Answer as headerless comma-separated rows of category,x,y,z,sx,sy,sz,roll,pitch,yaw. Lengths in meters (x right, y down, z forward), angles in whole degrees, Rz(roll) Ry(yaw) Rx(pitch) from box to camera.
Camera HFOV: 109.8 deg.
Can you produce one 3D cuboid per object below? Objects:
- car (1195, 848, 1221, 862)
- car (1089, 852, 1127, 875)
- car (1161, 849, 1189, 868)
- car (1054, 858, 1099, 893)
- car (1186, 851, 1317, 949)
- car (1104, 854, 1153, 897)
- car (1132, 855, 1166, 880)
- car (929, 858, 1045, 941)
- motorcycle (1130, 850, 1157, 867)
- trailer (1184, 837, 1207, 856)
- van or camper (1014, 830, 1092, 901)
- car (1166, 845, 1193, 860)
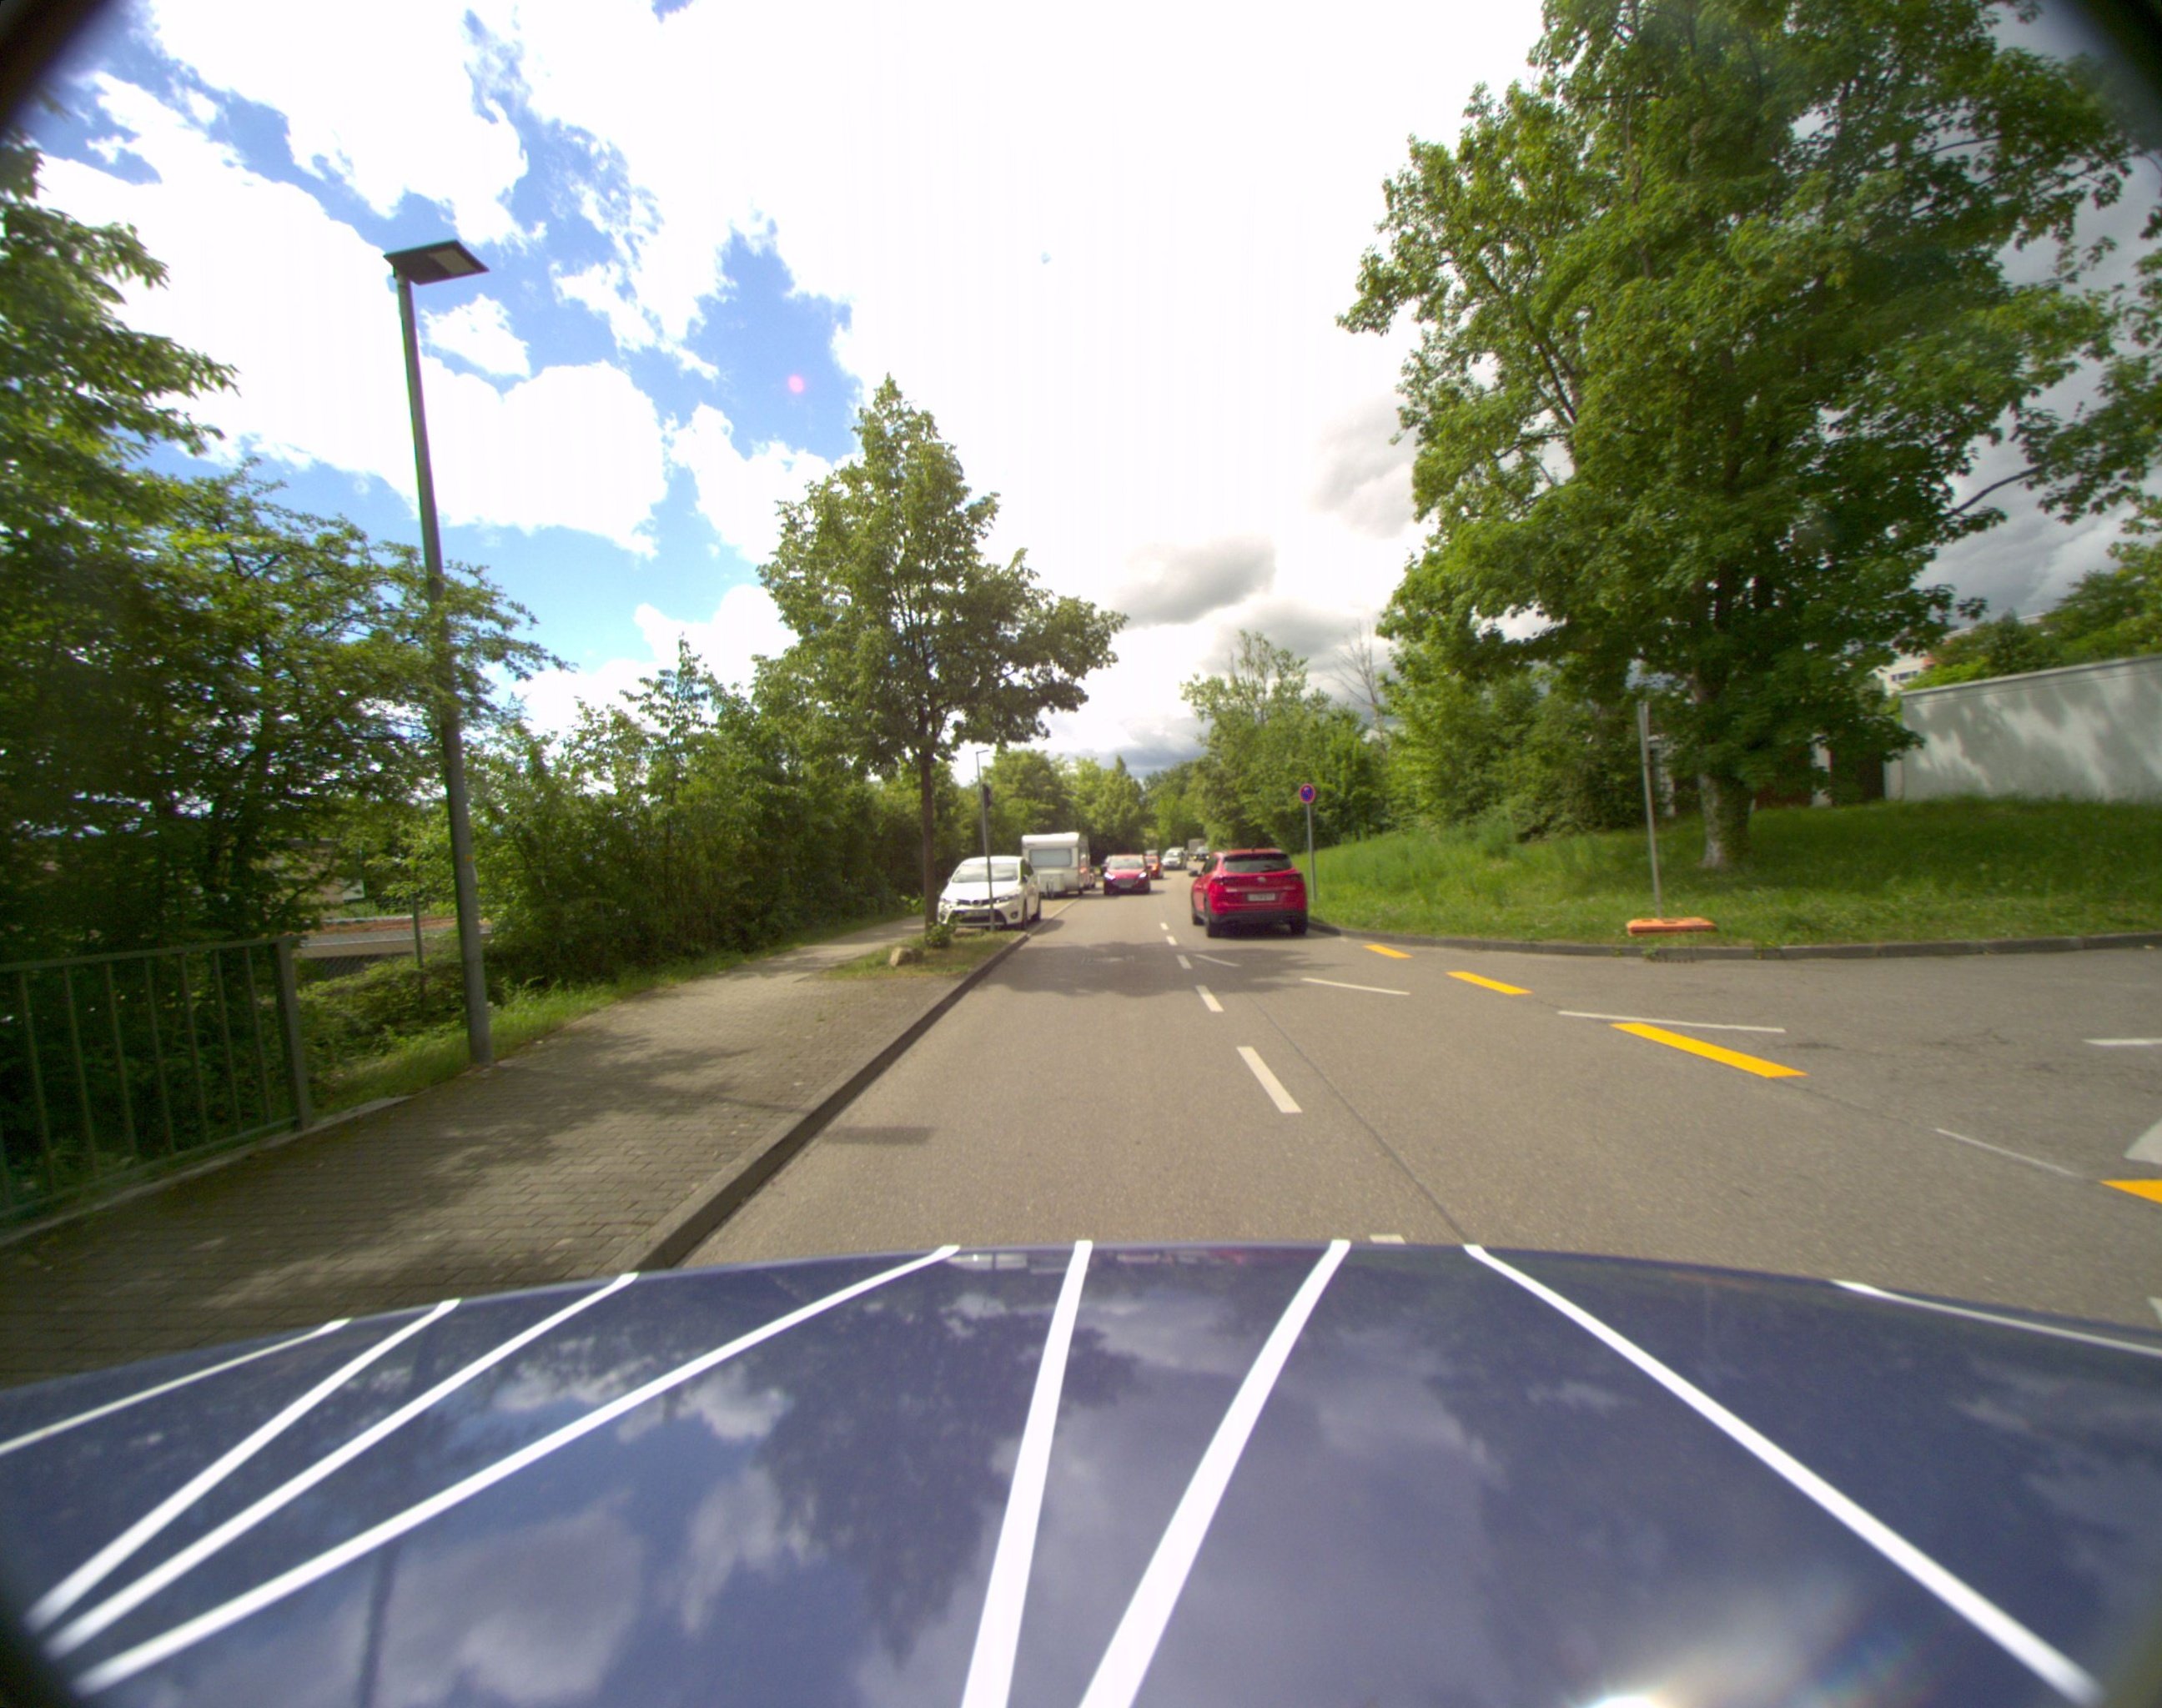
car,13.529,0.086,80.905,1.793,1.500,4.119,1,1,23
car,2.038,0.655,55.305,1.896,1.521,4.550,-3,0,13
car,8.023,0.390,64.402,1.793,1.500,4.117,1,1,15
car,-0.151,0.981,36.338,1.685,1.442,4.481,-3,0,5
car,3.300,0.822,15.532,1.847,1.649,4.222,-3,0,3
car,2.090,0.864,32.614,1.911,1.688,4.388,-1,0,5
car,4.354,0.834,48.164,1.794,1.404,4.116,-2,-1,10
car,-1.996,0.923,17.450,1.809,1.590,4.373,-2,0,3
motorcycle,5.563,0.354,67.599,2.306,1.467,0.977,1,3,42
trailer,13.611,-0.872,90.387,1.731,2.067,3.787,0,3,23
van or camper,-0.982,0.392,30.090,2.359,2.539,5.076,-2,1,5
car,10.683,-0.178,82.241,1.864,1.469,4.907,-1,2,20
